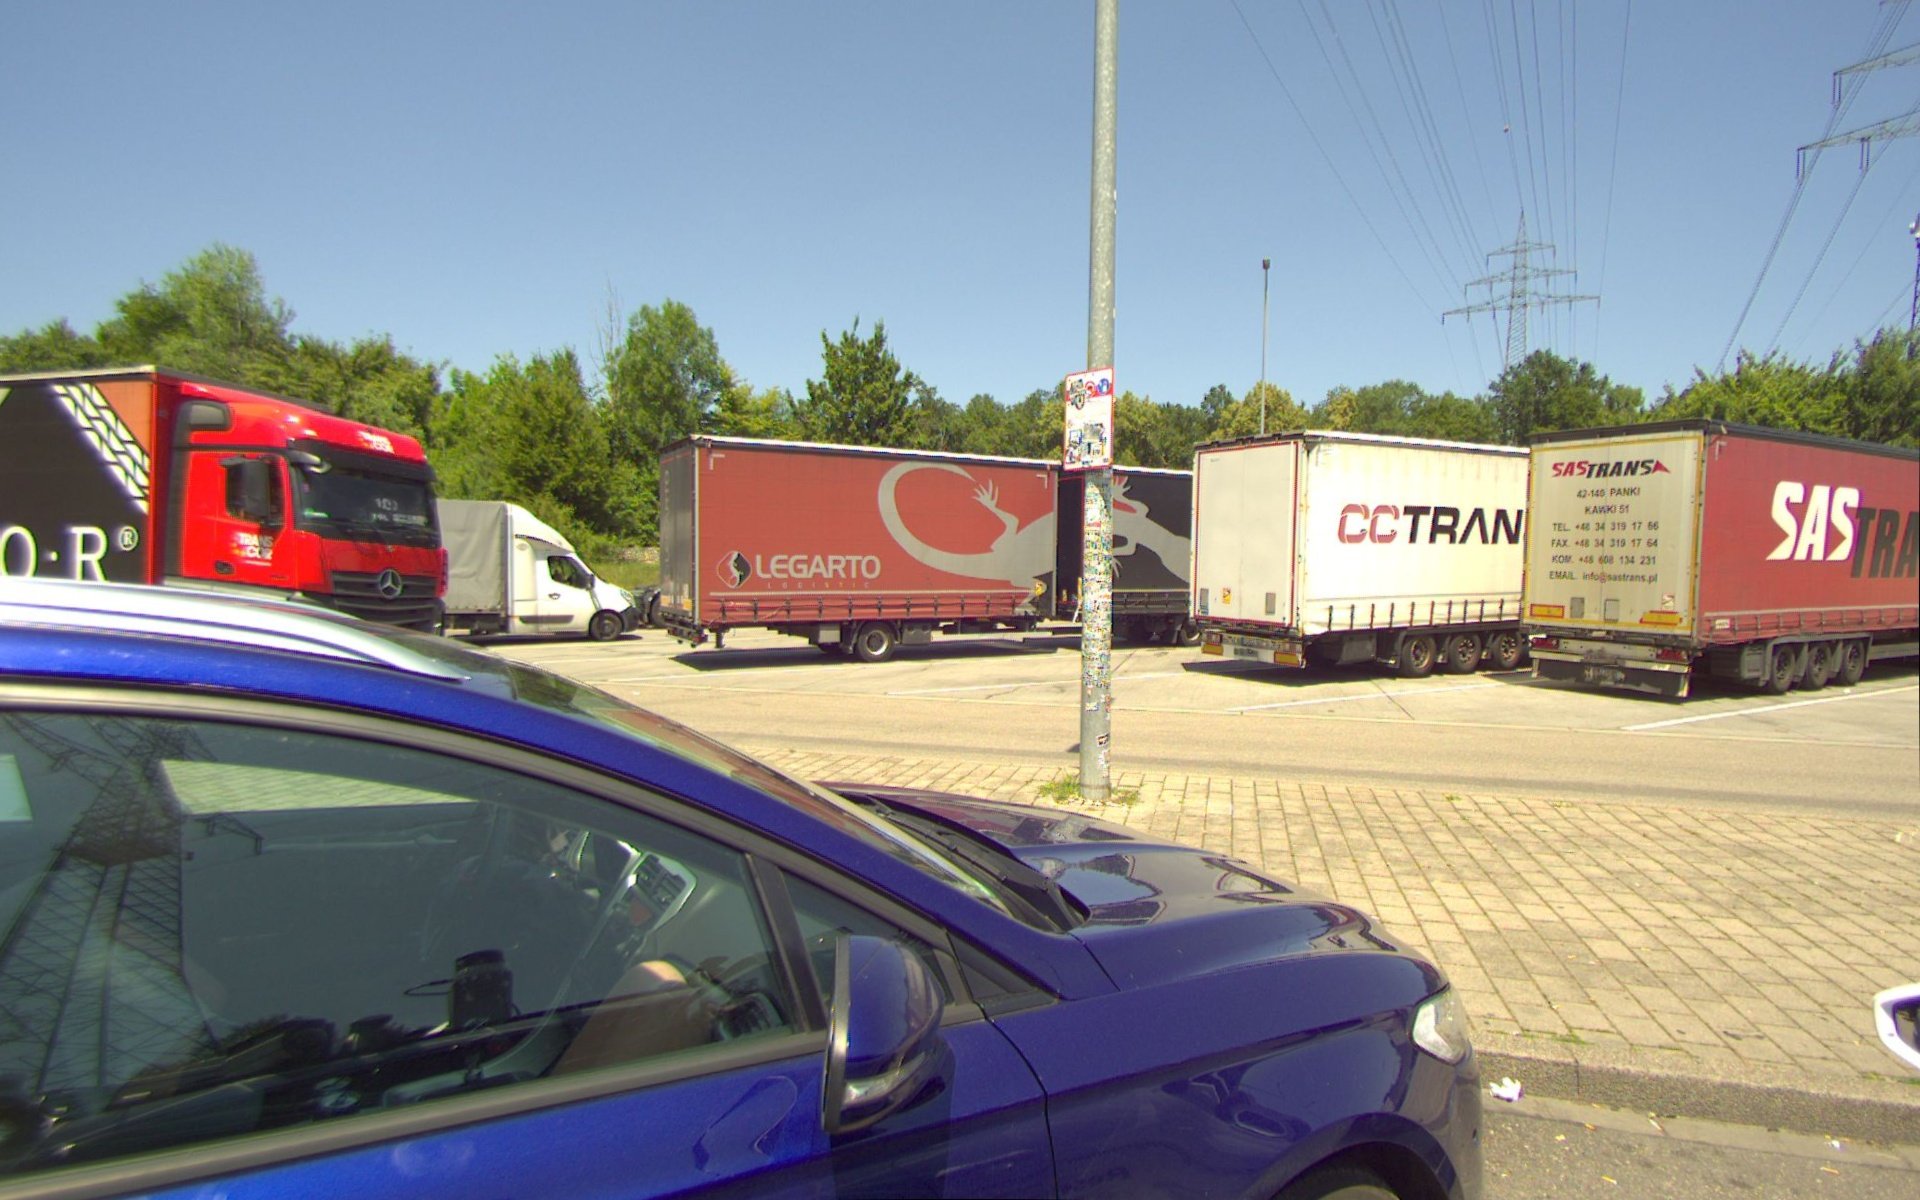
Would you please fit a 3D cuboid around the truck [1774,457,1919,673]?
[{"bbox_3d":[20.815,-0.675,21.772,6.749,4.136,2.729,0,1,-31],"label":"truck"}]

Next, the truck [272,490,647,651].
[{"bbox_3d":[-11.044,-0.607,22.745,7.265,3.170,2.352,0,1,-30],"label":"truck"}]

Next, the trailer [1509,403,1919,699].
[{"bbox_3d":[15.299,-0.672,18.509,13.129,4.112,2.736,0,1,-31],"label":"trailer"}]

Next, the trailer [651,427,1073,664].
[{"bbox_3d":[-1.794,-0.920,20.310,8.158,4.027,2.651,0,1,-30],"label":"trailer"}]

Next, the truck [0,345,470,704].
[{"bbox_3d":[-12.352,-0.924,14.291,10.390,4.183,2.695,1,1,14],"label":"truck"}]

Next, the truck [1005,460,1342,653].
[{"bbox_3d":[5.398,-0.912,24.582,8.534,4.073,2.624,0,1,-30],"label":"truck"}]

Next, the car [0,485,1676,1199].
[{"bbox_3d":[-1.013,0.652,1.465,4.419,1.485,1.765,0,1,-32],"label":"car"}]

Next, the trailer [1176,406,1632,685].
[{"bbox_3d":[8.708,-0.831,19.107,9.614,4.321,2.733,0,1,-29],"label":"trailer"}]
